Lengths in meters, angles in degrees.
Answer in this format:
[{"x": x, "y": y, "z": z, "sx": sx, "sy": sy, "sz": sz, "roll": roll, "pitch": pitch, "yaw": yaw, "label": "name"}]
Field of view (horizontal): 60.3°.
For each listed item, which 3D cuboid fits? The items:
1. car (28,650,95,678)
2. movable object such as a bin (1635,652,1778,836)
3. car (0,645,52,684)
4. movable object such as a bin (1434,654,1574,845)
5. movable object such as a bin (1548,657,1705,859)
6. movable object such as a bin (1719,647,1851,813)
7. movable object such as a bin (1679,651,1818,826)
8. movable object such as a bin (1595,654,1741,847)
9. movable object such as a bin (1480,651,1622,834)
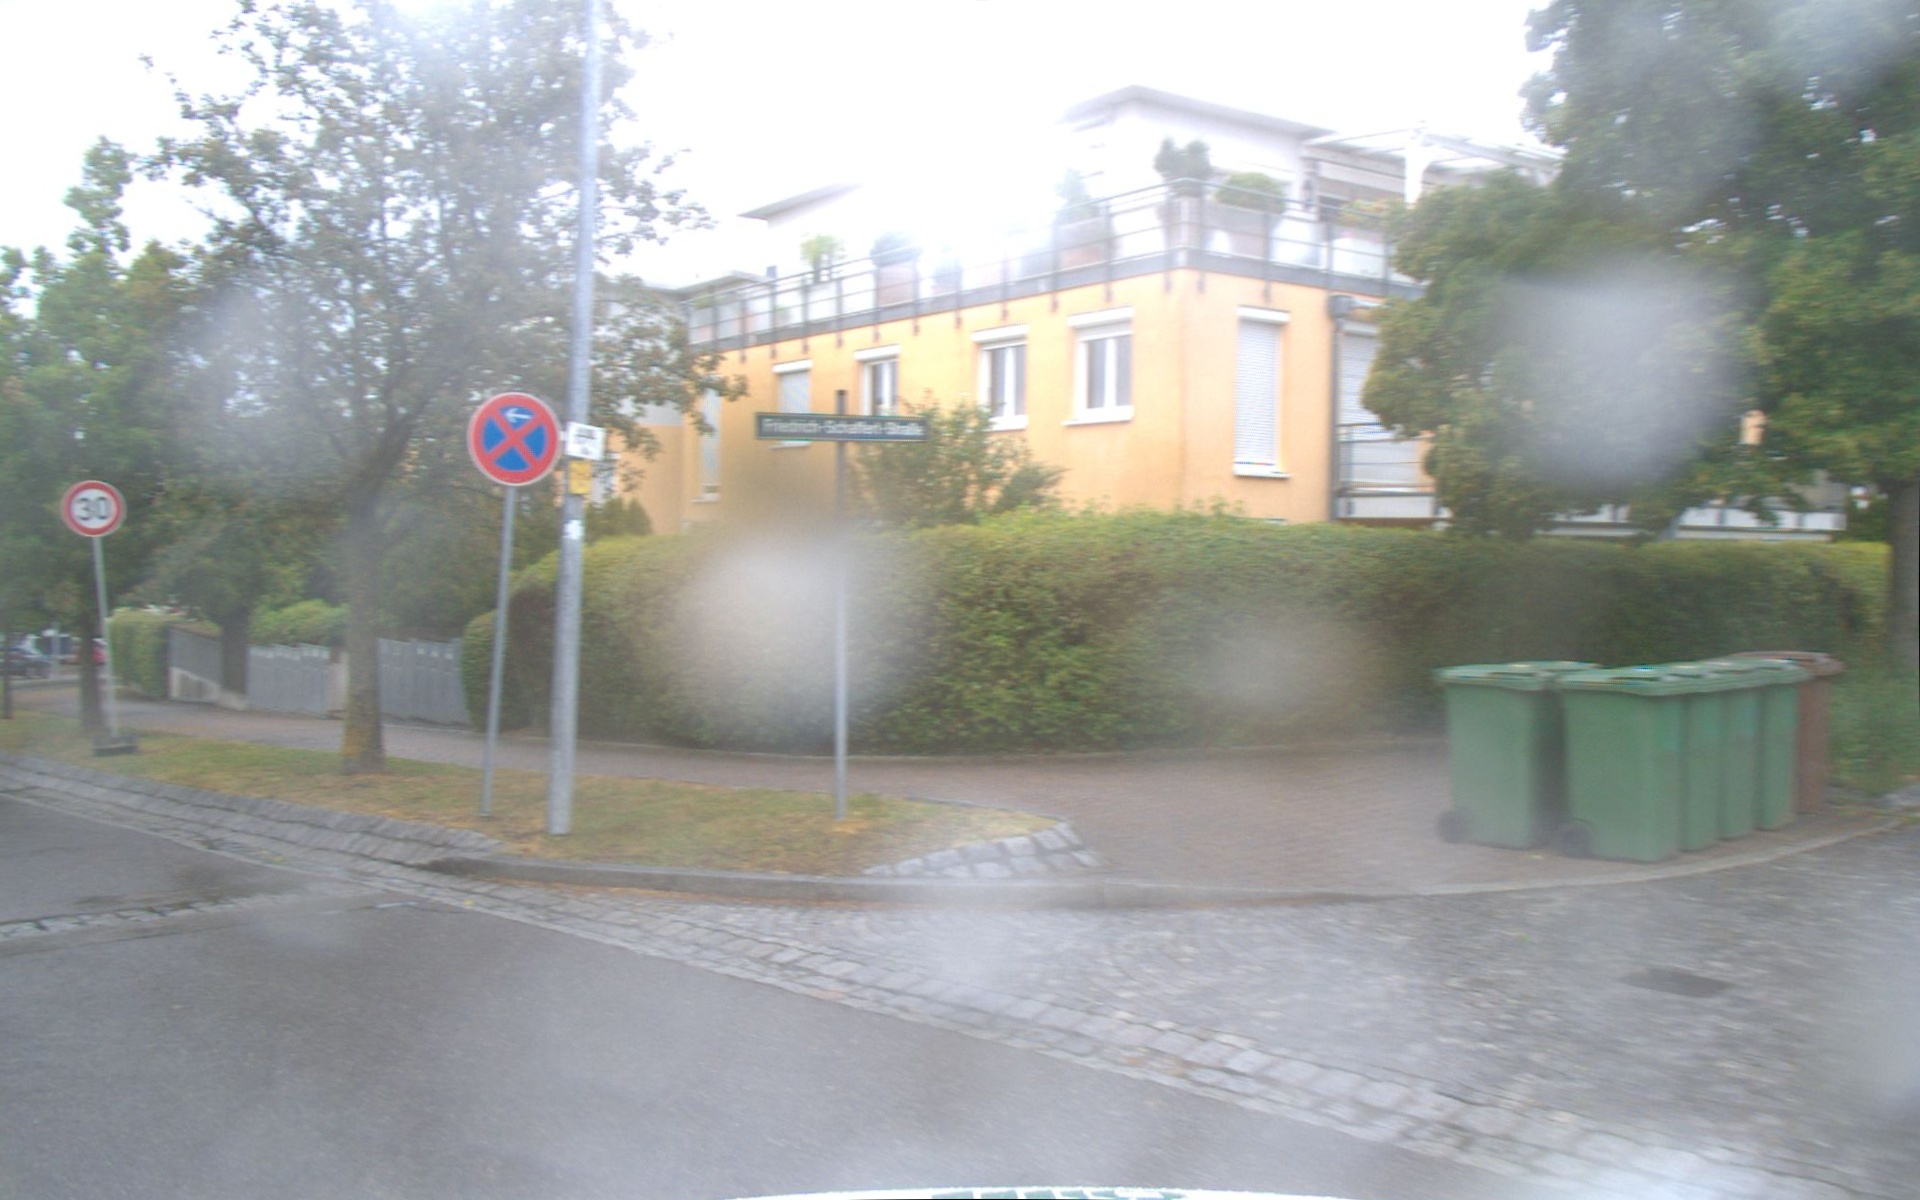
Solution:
[{"x": -58.246, "y": 4.140, "z": 107.271, "sx": 3.503, "sy": 1.634, "sz": 1.685, "roll": -1, "pitch": -1, "yaw": -16, "label": "car"}, {"x": 4.756, "y": 0.893, "z": 10.538, "sx": 0.684, "sy": 1.086, "sz": 0.575, "roll": 1, "pitch": 0, "yaw": 43, "label": "movable object such as a bin"}, {"x": -41.402, "y": 2.811, "z": 72.819, "sx": 1.659, "sy": 1.579, "sz": 3.680, "roll": 1, "pitch": -1, "yaw": -16, "label": "car"}, {"x": 3.347, "y": 0.895, "z": 10.183, "sx": 0.656, "sy": 1.092, "sz": 0.540, "roll": 1, "pitch": 0, "yaw": 43, "label": "movable object such as a bin"}, {"x": 3.905, "y": 0.898, "z": 9.691, "sx": 0.684, "sy": 1.093, "sz": 0.598, "roll": 1, "pitch": 0, "yaw": 43, "label": "movable object such as a bin"}, {"x": 5.752, "y": 0.884, "z": 11.534, "sx": 0.684, "sy": 1.073, "sz": 0.601, "roll": 1, "pitch": 0, "yaw": 43, "label": "movable object such as a bin"}, {"x": 5.222, "y": 0.892, "z": 10.954, "sx": 0.684, "sy": 1.073, "sz": 0.601, "roll": 1, "pitch": 0, "yaw": 43, "label": "movable object such as a bin"}, {"x": 4.334, "y": 0.897, "z": 10.123, "sx": 0.684, "sy": 1.093, "sz": 0.540, "roll": 1, "pitch": 0, "yaw": 43, "label": "movable object such as a bin"}, {"x": 3.796, "y": 0.887, "z": 10.618, "sx": 0.684, "sy": 1.091, "sz": 0.594, "roll": 1, "pitch": 0, "yaw": 43, "label": "movable object such as a bin"}]
